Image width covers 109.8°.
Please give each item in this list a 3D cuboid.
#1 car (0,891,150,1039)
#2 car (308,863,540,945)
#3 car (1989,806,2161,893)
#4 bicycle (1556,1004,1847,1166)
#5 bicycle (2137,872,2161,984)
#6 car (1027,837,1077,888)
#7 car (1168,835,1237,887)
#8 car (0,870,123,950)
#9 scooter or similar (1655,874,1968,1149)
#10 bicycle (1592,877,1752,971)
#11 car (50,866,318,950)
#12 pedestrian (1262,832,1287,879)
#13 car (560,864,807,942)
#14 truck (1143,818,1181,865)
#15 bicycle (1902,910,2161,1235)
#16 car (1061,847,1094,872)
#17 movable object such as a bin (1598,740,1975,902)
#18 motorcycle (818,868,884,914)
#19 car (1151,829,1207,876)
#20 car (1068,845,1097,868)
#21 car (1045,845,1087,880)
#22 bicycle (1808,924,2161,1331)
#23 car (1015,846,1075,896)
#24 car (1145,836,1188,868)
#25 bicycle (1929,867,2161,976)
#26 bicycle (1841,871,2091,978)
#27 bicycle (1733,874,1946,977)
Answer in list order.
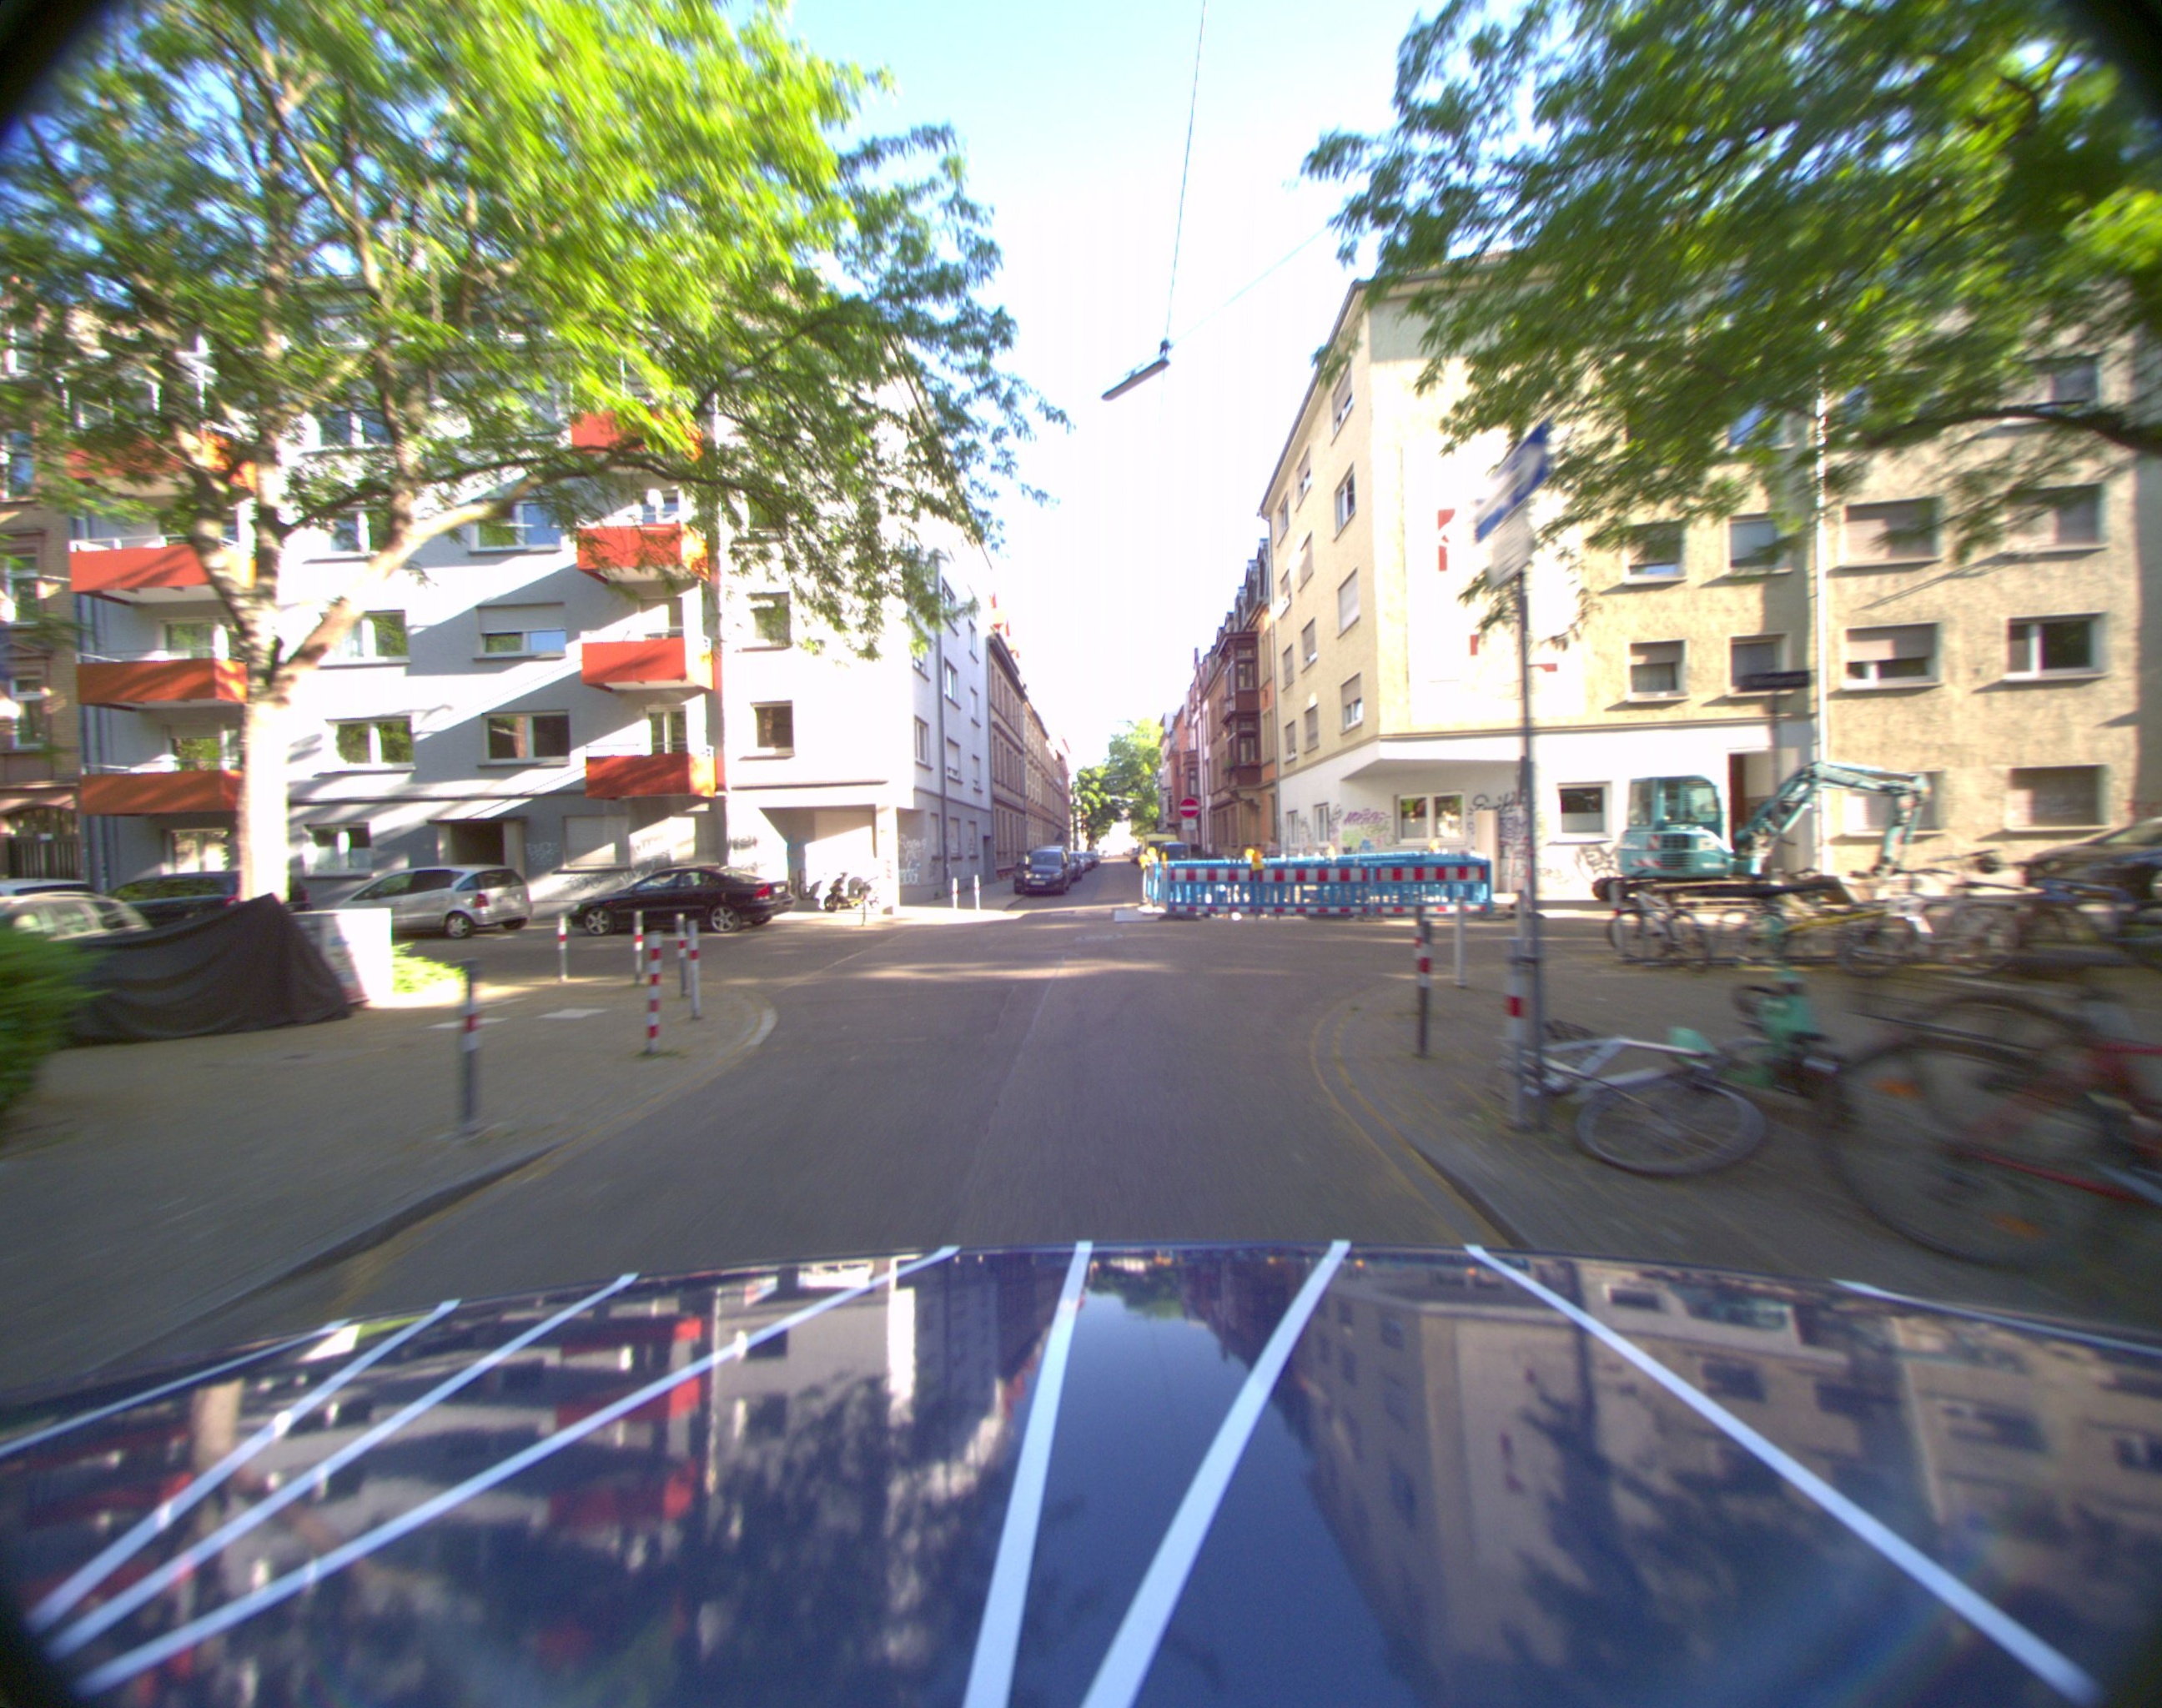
[{"bbox_3d":[-13.055,1.323,8.613,1.785,1.423,4.404,-4,3,-32],"label":"car"},{"bbox_3d":[-14.635,1.092,17.078,3.694,1.550,1.649,-1,4,2],"label":"car"},{"bbox_3d":[19.667,-0.140,13.706,3.994,1.433,1.815,-1,3,8],"label":"car"},{"bbox_3d":[2.987,1.091,3.798,0.451,0.440,1.198,-2,-1,-1],"label":"bicycle"},{"bbox_3d":[9.624,0.588,6.118,1.422,0.920,0.312,-2,0,14],"label":"bicycle"},{"bbox_3d":[-1.267,0.320,33.623,1.999,2.053,3.998,-2,1,-2],"label":"car"},{"bbox_3d":[4.333,0.210,27.650,1.776,1.696,3.999,-2,1,-1],"label":"car"},{"bbox_3d":[-24.818,1.272,17.248,3.999,1.571,1.649,-1,4,2],"label":"car"},{"bbox_3d":[3.575,0.695,3.847,0.446,1.167,1.165,-2,-1,3],"label":"scooter or similar"},{"bbox_3d":[6.621,0.741,8.628,0.492,0.920,1.758,-2,-1,3],"label":"bicycle"},{"bbox_3d":[-20.179,1.182,17.214,4.035,1.608,1.649,-1,4,2],"label":"car"},{"bbox_3d":[6.663,0.043,26.166,0.670,1.586,0.597,-2,1,-1],"label":"pedestrian"},{"bbox_3d":[-8.582,1.034,16.665,4.412,1.423,1.782,-2,2,2],"label":"car"},{"bbox_3d":[4.849,-0.777,46.215,1.971,2.643,5.884,0,1,3],"label":"truck"},{"bbox_3d":[3.720,0.758,2.710,0.234,1.036,1.198,-2,-1,-1],"label":"bicycle"},{"bbox_3d":[-0.207,0.396,54.890,1.998,1.659,4.000,-1,1,4],"label":"car"},{"bbox_3d":[13.377,-0.617,14.765,5.148,2.733,2.000,-2,3,7],"label":"movable object such as a bin"},{"bbox_3d":[-6.111,0.977,20.271,1.472,1.111,0.908,-2,1,-4],"label":"motorcycle"},{"bbox_3d":[4.114,-0.096,32.531,1.804,1.842,3.999,-2,1,-1],"label":"car"},{"bbox_3d":[0.149,0.190,59.311,1.998,1.659,4.000,-1,1,4],"label":"car"},{"bbox_3d":[-0.766,0.385,38.639,1.999,1.659,3.998,-2,1,-2],"label":"car"},{"bbox_3d":[3.092,0.774,2.005,0.234,1.037,1.679,-6,4,-37],"label":"bicycle"},{"bbox_3d":[-1.252,0.566,27.967,1.845,1.644,4.000,0,1,3],"label":"car"},{"bbox_3d":[4.520,-0.123,40.851,1.998,1.583,4.000,-1,1,3],"label":"car"},{"bbox_3d":[9.376,0.610,7.460,0.491,0.920,1.759,-2,-1,15],"label":"bicycle"},{"bbox_3d":[8.709,0.646,7.603,0.492,0.920,1.758,-2,-1,3],"label":"bicycle"},{"bbox_3d":[7.766,0.683,7.905,0.492,0.920,1.758,-2,-1,3],"label":"bicycle"}]
